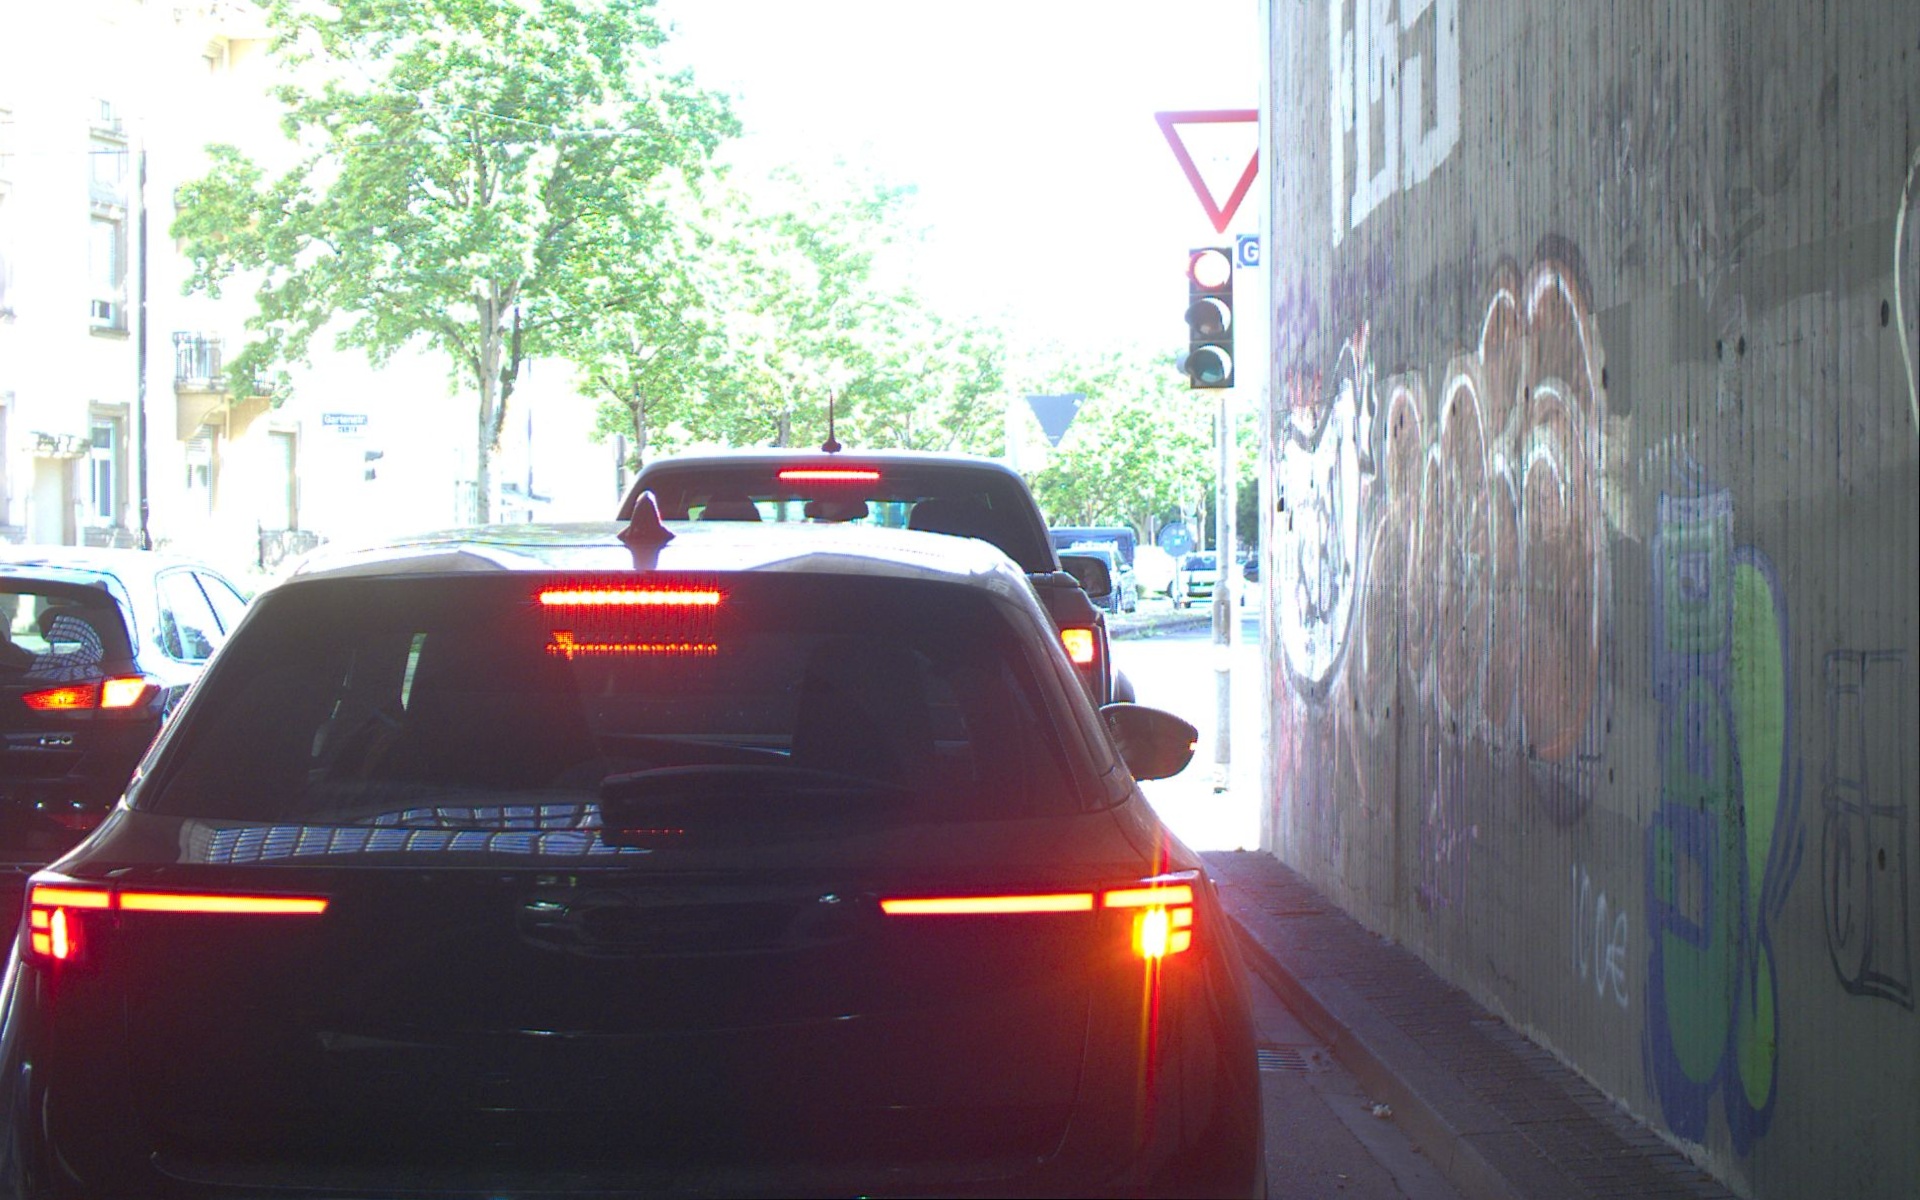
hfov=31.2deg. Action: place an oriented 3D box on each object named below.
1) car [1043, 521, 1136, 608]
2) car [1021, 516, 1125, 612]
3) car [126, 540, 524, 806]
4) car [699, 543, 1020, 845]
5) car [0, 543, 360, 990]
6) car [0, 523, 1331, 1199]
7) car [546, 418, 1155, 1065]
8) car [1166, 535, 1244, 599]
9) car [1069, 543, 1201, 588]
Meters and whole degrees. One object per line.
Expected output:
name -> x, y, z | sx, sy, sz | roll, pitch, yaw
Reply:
car -> 2.597, -0.704, 68.324 | 1.754, 1.661, 3.944 | 1, 1, 3
car -> 2.078, -0.650, 62.205 | 1.754, 1.661, 3.944 | 1, 1, 3
car -> -3.770, 0.373, 21.020 | 1.762, 1.475, 3.844 | 0, 1, -1
car -> -0.527, 0.439, 19.269 | 1.609, 1.508, 4.054 | 0, 1, -1
car -> -3.518, 0.520, 13.297 | 1.762, 1.475, 3.844 | 0, 1, -1
car -> -0.468, 0.640, 6.109 | 1.762, 1.526, 4.089 | 0, 1, -1
car -> -0.341, 0.378, 12.049 | 1.762, 1.876, 4.146 | 0, 1, -1
car -> 6.634, -0.892, 92.777 | 1.754, 1.661, 3.943 | 1, 1, 9
car -> 6.815, -1.347, 133.785 | 4.798, 1.661, 1.824 | 1, 1, -21
